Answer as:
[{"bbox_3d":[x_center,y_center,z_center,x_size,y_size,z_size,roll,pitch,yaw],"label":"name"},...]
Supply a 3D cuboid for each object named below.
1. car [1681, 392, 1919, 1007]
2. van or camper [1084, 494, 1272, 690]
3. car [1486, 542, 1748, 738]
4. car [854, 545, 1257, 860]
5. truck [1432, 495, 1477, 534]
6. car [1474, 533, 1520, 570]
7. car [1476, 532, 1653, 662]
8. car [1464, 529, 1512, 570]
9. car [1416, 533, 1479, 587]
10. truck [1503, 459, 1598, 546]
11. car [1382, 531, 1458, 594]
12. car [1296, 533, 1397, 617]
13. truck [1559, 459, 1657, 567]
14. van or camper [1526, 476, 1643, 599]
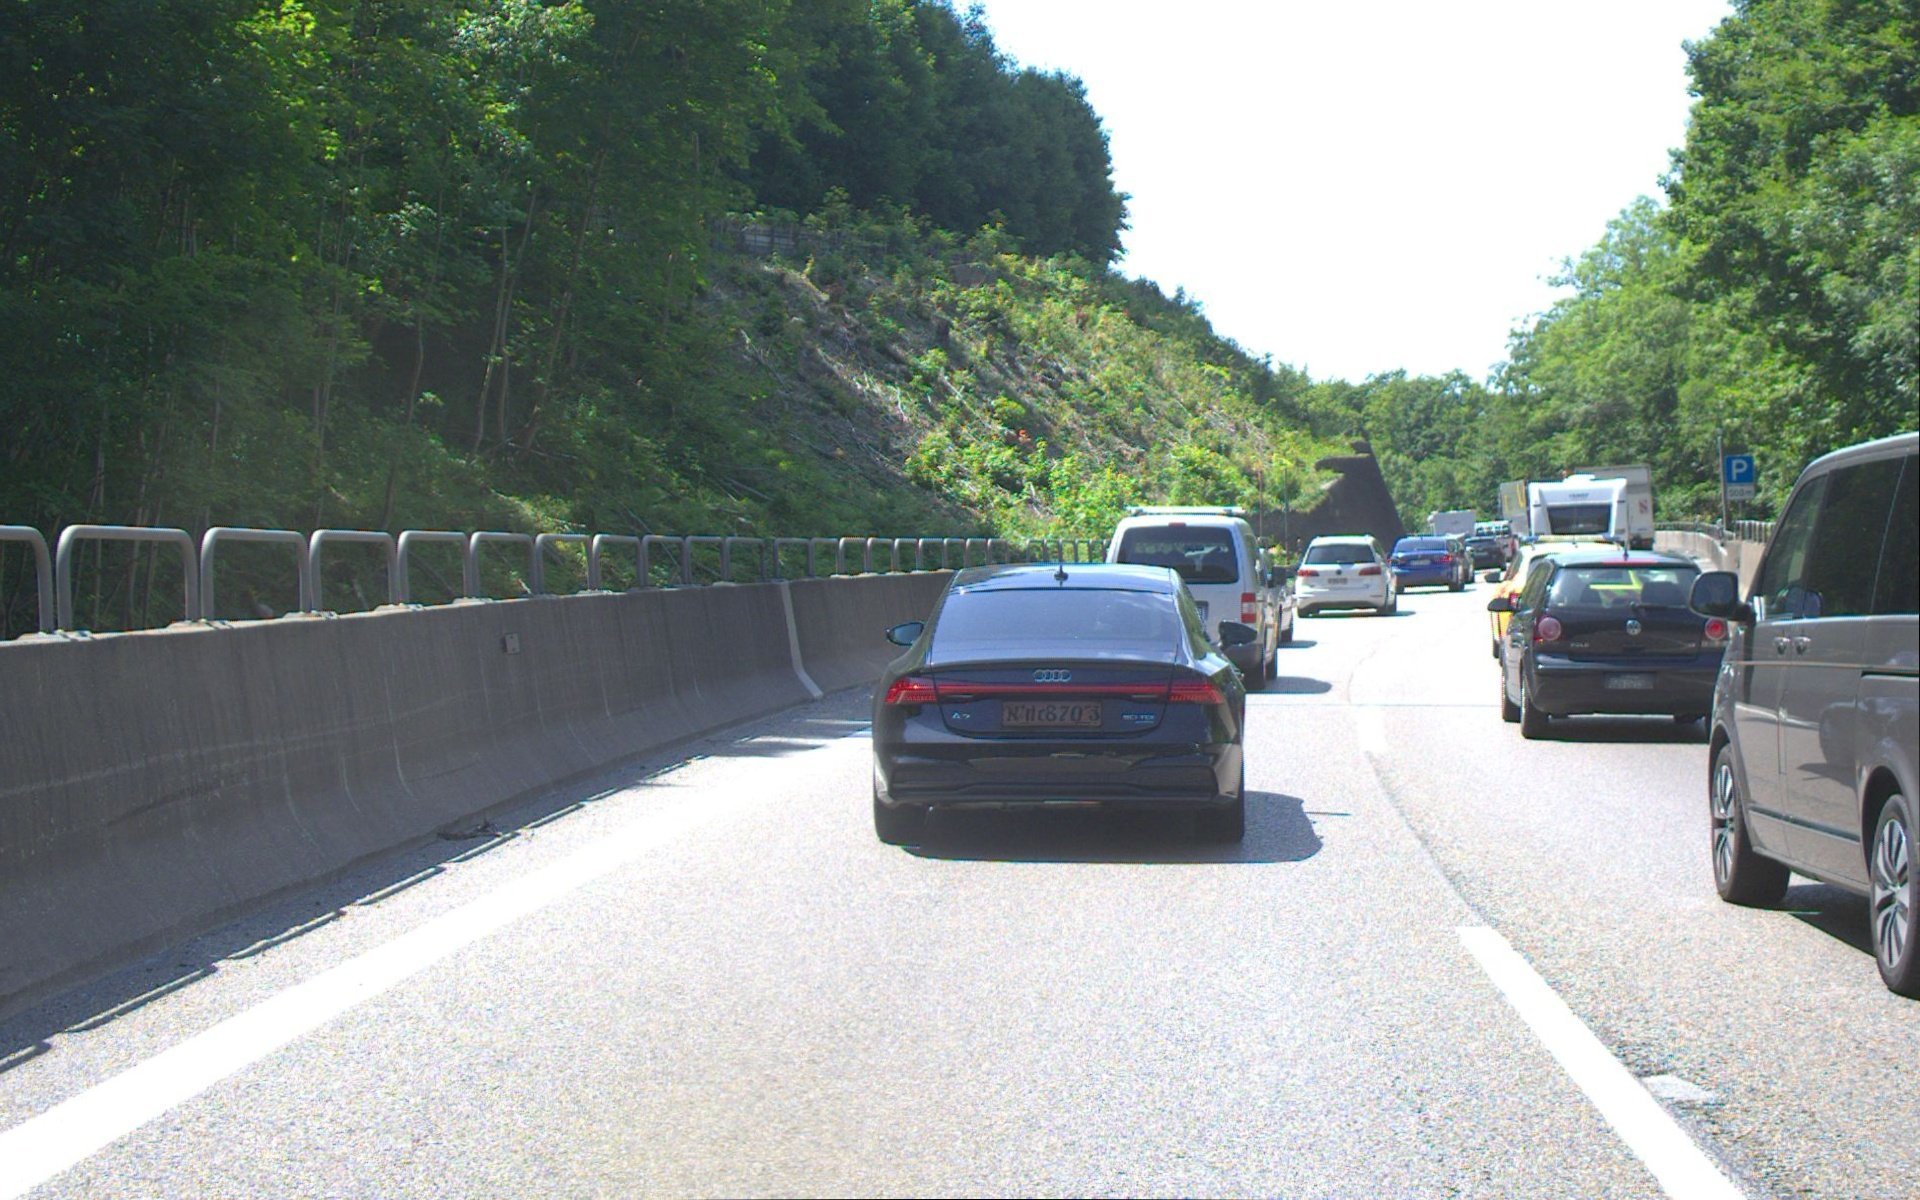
[{"bbox_3d":[4.059,0.271,12.791,1.941,1.924,4.694,-1,1,2],"label":"car"},{"bbox_3d":[2.326,-0.113,36.391,1.854,1.935,4.165,-1,1,4],"label":"van or camper"},{"bbox_3d":[5.228,0.269,27.772,1.685,1.453,3.999,0,1,5],"label":"car"},{"bbox_3d":[0.544,0.457,18.551,1.905,1.484,4.379,-1,1,2],"label":"car"},{"bbox_3d":[25.736,-4.453,178.986,1.994,2.007,4.000,0,1,4],"label":"truck"},{"bbox_3d":[23.332,-2.116,149.342,1.751,1.565,3.770,0,1,6],"label":"car"},{"bbox_3d":[7.208,-0.063,41.305,1.809,1.472,4.081,0,1,6],"label":"car"},{"bbox_3d":[20.669,-1.994,134.545,1.751,1.565,3.769,0,1,10],"label":"car"},{"bbox_3d":[14.691,-1.210,103.461,1.751,1.565,3.769,0,1,10],"label":"car"},{"bbox_3d":[31.010,-5.100,180.929,3.710,4.488,7.724,0,1,1],"label":"truck"},{"bbox_3d":[11.893,-0.983,88.739,1.751,1.565,3.769,0,1,10],"label":"car"},{"bbox_3d":[7.562,-0.508,67.288,1.895,1.579,3.770,0,1,7],"label":"car"},{"bbox_3d":[22.628,-3.014,120.360,2.926,3.674,7.722,0,1,7],"label":"truck"},{"bbox_3d":[15.150,-1.510,83.137,2.605,2.845,6.332,0,1,12],"label":"van or camper"}]
